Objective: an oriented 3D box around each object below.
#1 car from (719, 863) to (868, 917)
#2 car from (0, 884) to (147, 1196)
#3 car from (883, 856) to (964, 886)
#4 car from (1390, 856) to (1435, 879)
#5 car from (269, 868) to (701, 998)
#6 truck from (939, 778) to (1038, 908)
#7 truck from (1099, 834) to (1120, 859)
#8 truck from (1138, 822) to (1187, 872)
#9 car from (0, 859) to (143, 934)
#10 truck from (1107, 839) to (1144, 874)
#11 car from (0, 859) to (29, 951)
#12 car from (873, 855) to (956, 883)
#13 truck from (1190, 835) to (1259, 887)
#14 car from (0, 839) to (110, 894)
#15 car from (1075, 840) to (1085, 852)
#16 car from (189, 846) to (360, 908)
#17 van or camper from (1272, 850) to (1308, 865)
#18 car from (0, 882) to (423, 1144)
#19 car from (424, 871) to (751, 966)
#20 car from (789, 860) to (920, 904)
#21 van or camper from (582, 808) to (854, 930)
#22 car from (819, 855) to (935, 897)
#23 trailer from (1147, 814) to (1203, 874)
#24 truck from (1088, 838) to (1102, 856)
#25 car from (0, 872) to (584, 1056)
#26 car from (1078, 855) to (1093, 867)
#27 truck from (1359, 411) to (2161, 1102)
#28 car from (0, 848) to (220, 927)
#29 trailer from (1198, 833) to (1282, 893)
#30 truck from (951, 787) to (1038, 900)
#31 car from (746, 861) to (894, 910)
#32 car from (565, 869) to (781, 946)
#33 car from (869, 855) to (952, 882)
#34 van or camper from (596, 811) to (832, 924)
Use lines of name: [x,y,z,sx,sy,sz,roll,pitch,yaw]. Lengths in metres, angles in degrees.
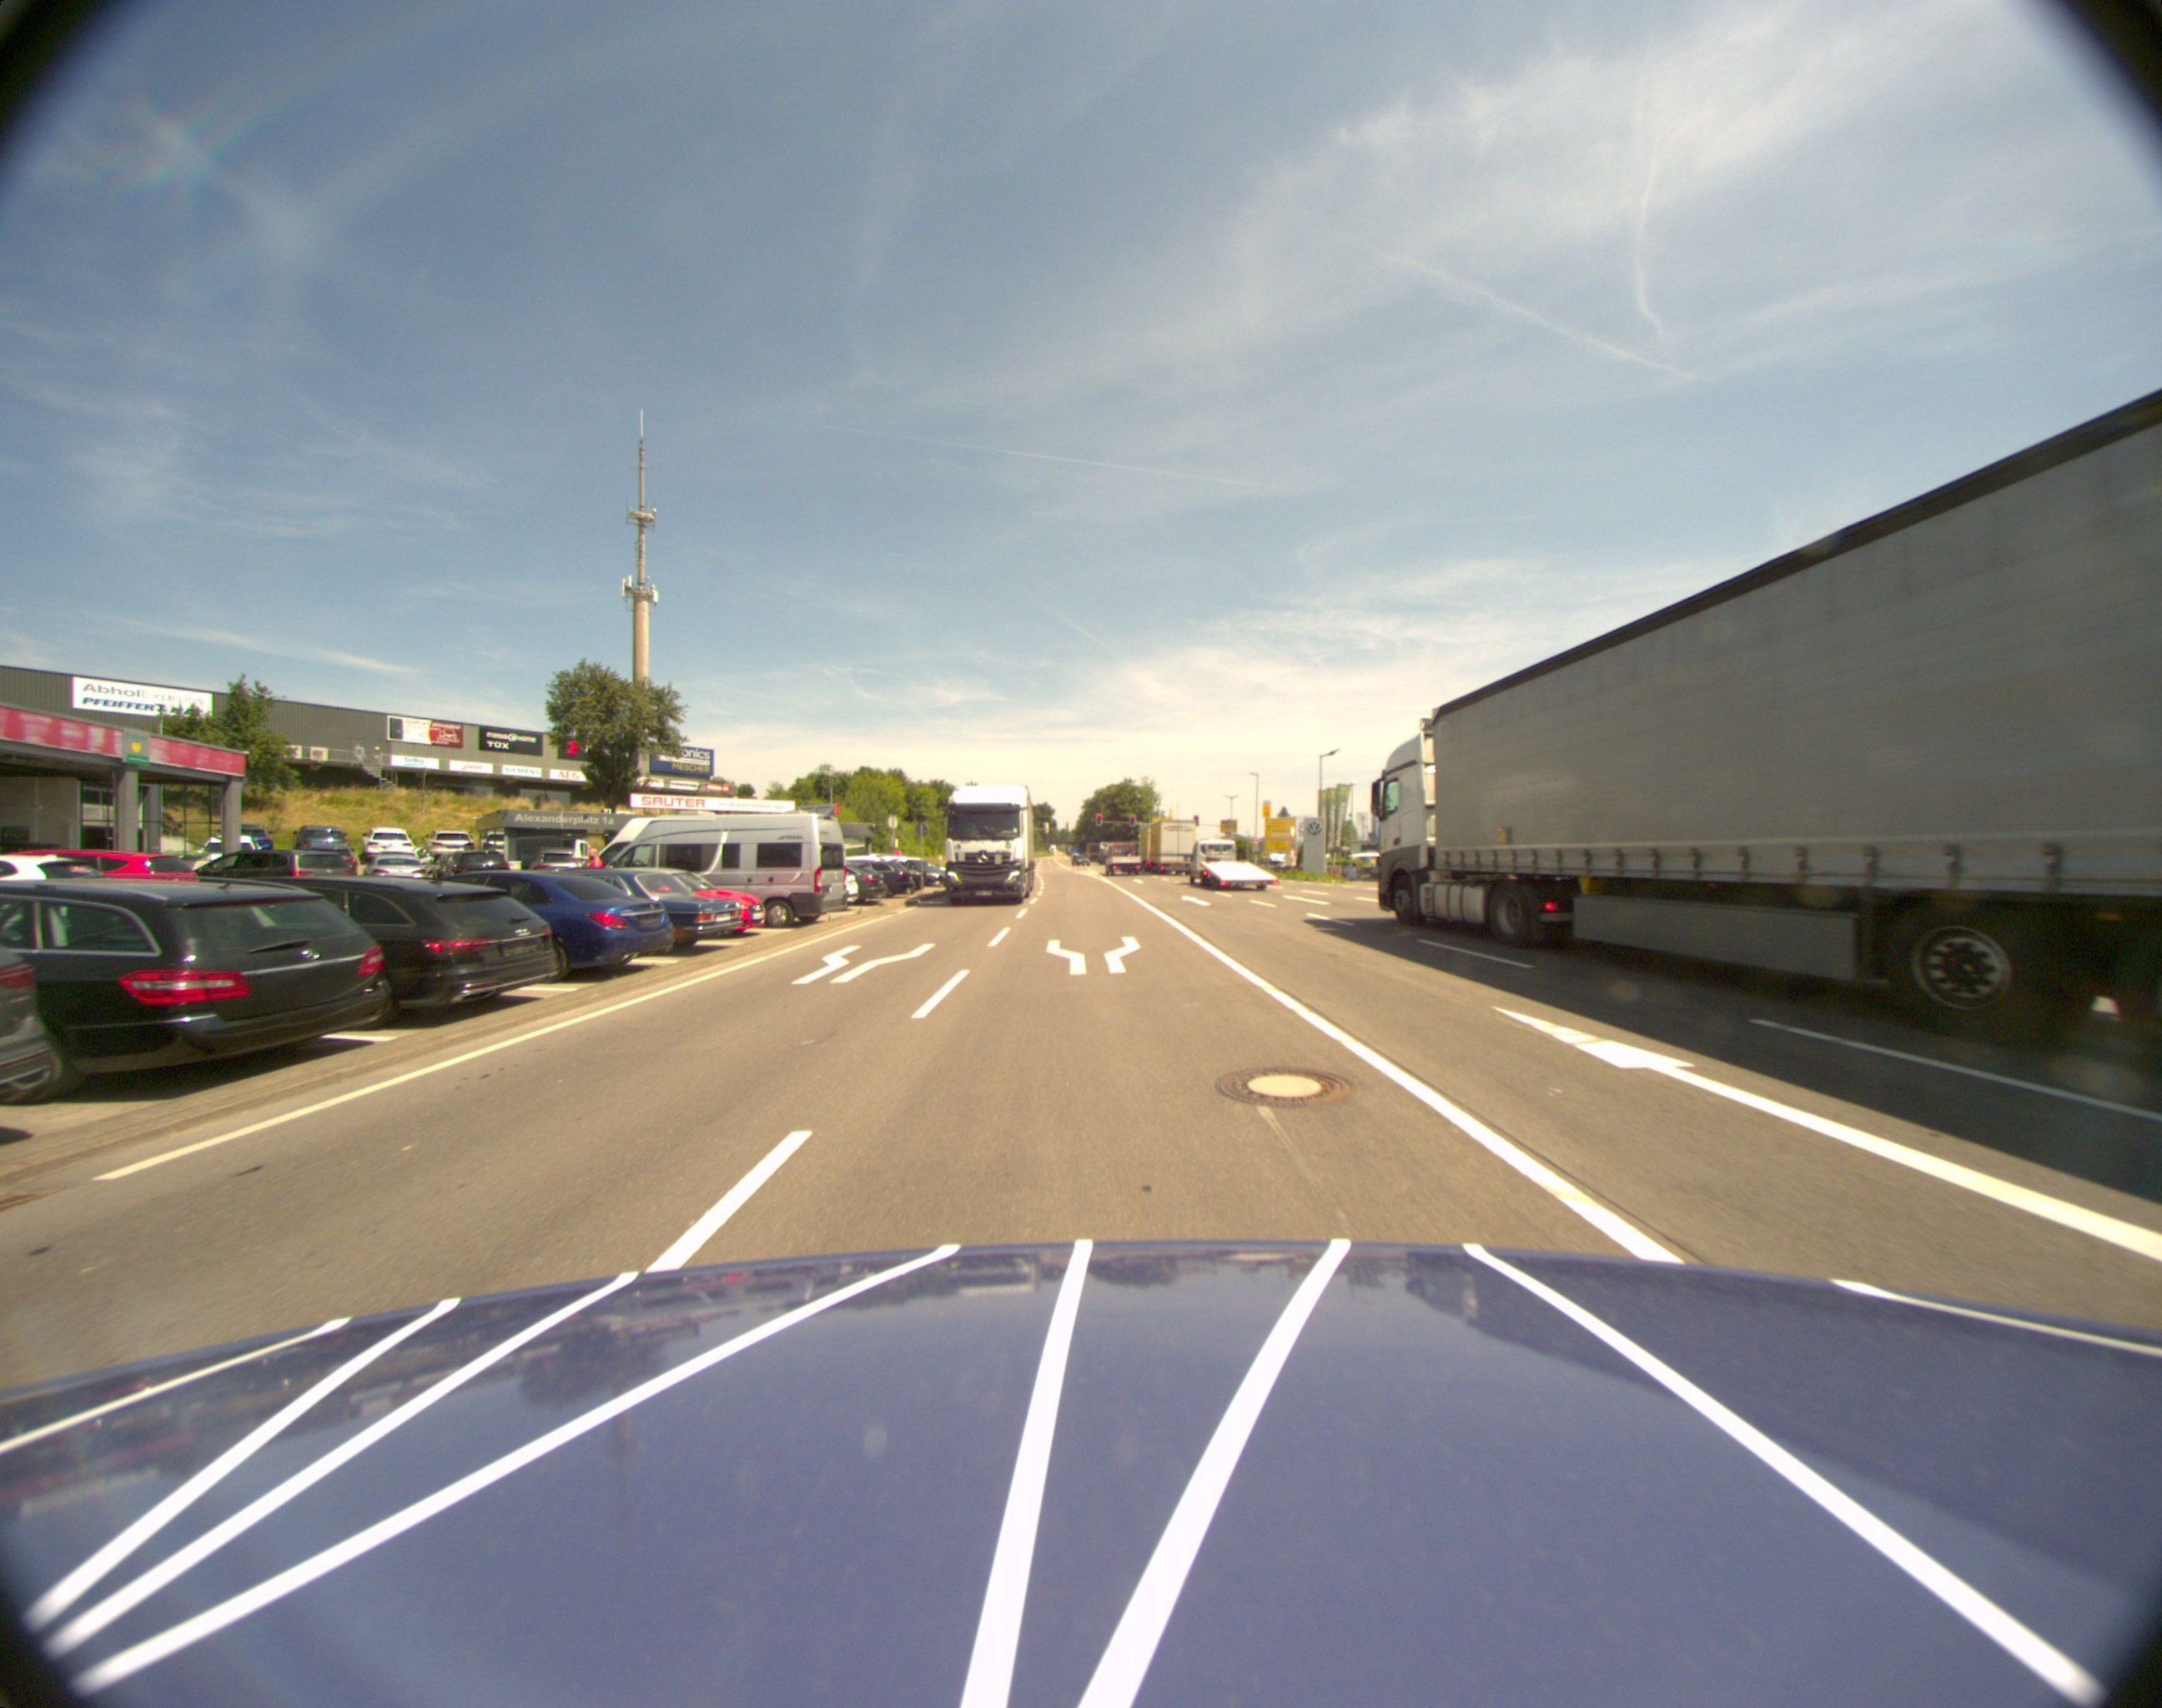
car: [-8.710,1.072,23.228,3.817,1.490,1.854,-1,0,3]
car: [-7.845,0.978,3.424,4.026,1.664,2.198,3,0,-14]
car: [-8.832,0.913,42.292,4.919,1.379,1.932,4,2,44]
car: [23.016,0.912,52.717,2.122,1.470,4.008,-1,0,35]
car: [-8.064,1.036,10.709,4.276,1.405,2.162,3,0,-3]
truck: [-3.082,-0.328,26.845,2.982,3.986,6.324,1,0,-4]
truck: [4.916,-1.212,132.412,2.612,3.994,15.129,-2,0,-1]
truck: [6.963,-0.564,66.538,3.037,4.081,10.353,0,0,-1]
car: [-21.306,0.846,14.680,3.603,1.366,1.675,-2,0,-23]
truck: [3.287,0.122,57.511,2.402,2.430,6.871,-2,1,1]
car: [-20.301,0.814,11.991,4.003,1.564,1.853,2,0,-15]
car: [-10.014,0.915,45.831,4.486,1.400,1.742,4,-2,-33]
truck: [6.956,0.325,37.497,2.431,2.327,5.675,1,0,2]
car: [-32.646,0.384,22.726,4.004,1.608,1.911,-1,0,-21]
car: [-0.256,-2.827,260.452,3.351,4.056,7.692,0,1,1]
car: [-25.669,0.690,24.271,3.595,1.574,1.675,1,10,4]
van or camper: [35.138,0.585,127.788,5.467,2.398,2.096,0,0,-5]
car: [-8.015,1.072,5.868,4.022,1.473,1.978,3,0,-3]
car: [-8.408,1.068,13.240,4.525,1.510,1.782,0,0,0]
car: [-8.430,1.019,28.657,4.338,1.490,2.081,-1,0,-3]
van or camper: [-8.643,0.349,18.495,5.489,2.714,2.232,-1,0,1]
car: [-8.564,0.879,31.884,4.346,1.615,2.057,0,0,-28]
trailer: [7.164,-0.696,59.115,3.019,4.262,10.057,0,0,0]
truck: [3.301,-1.543,180.844,2.851,3.932,17.085,-1,0,-1]
car: [-7.944,1.054,8.000,4.022,1.473,1.978,3,0,-3]
car: [0.638,1.039,111.325,1.928,1.601,4.509,-1,1,-1]
truck: [7.423,-0.596,7.921,2.797,3.866,16.479,-2,0,-1]
car: [-22.288,0.708,16.935,3.603,1.443,1.673,-2,7,-22]
trailer: [6.838,0.338,33.696,2.434,2.324,6.897,1,0,2]
truck: [-3.557,-0.367,34.191,2.982,3.986,14.117,1,0,-4]
car: [-8.788,1.051,25.931,4.338,1.490,2.081,-1,0,-3]
car: [-8.384,1.071,15.845,3.550,1.485,1.756,0,0,0]
car: [-10.833,0.938,48.540,4.750,1.543,1.994,3,-1,-41]
van or camper: [-9.956,0.365,20.959,5.382,2.888,2.232,-1,0,1]
